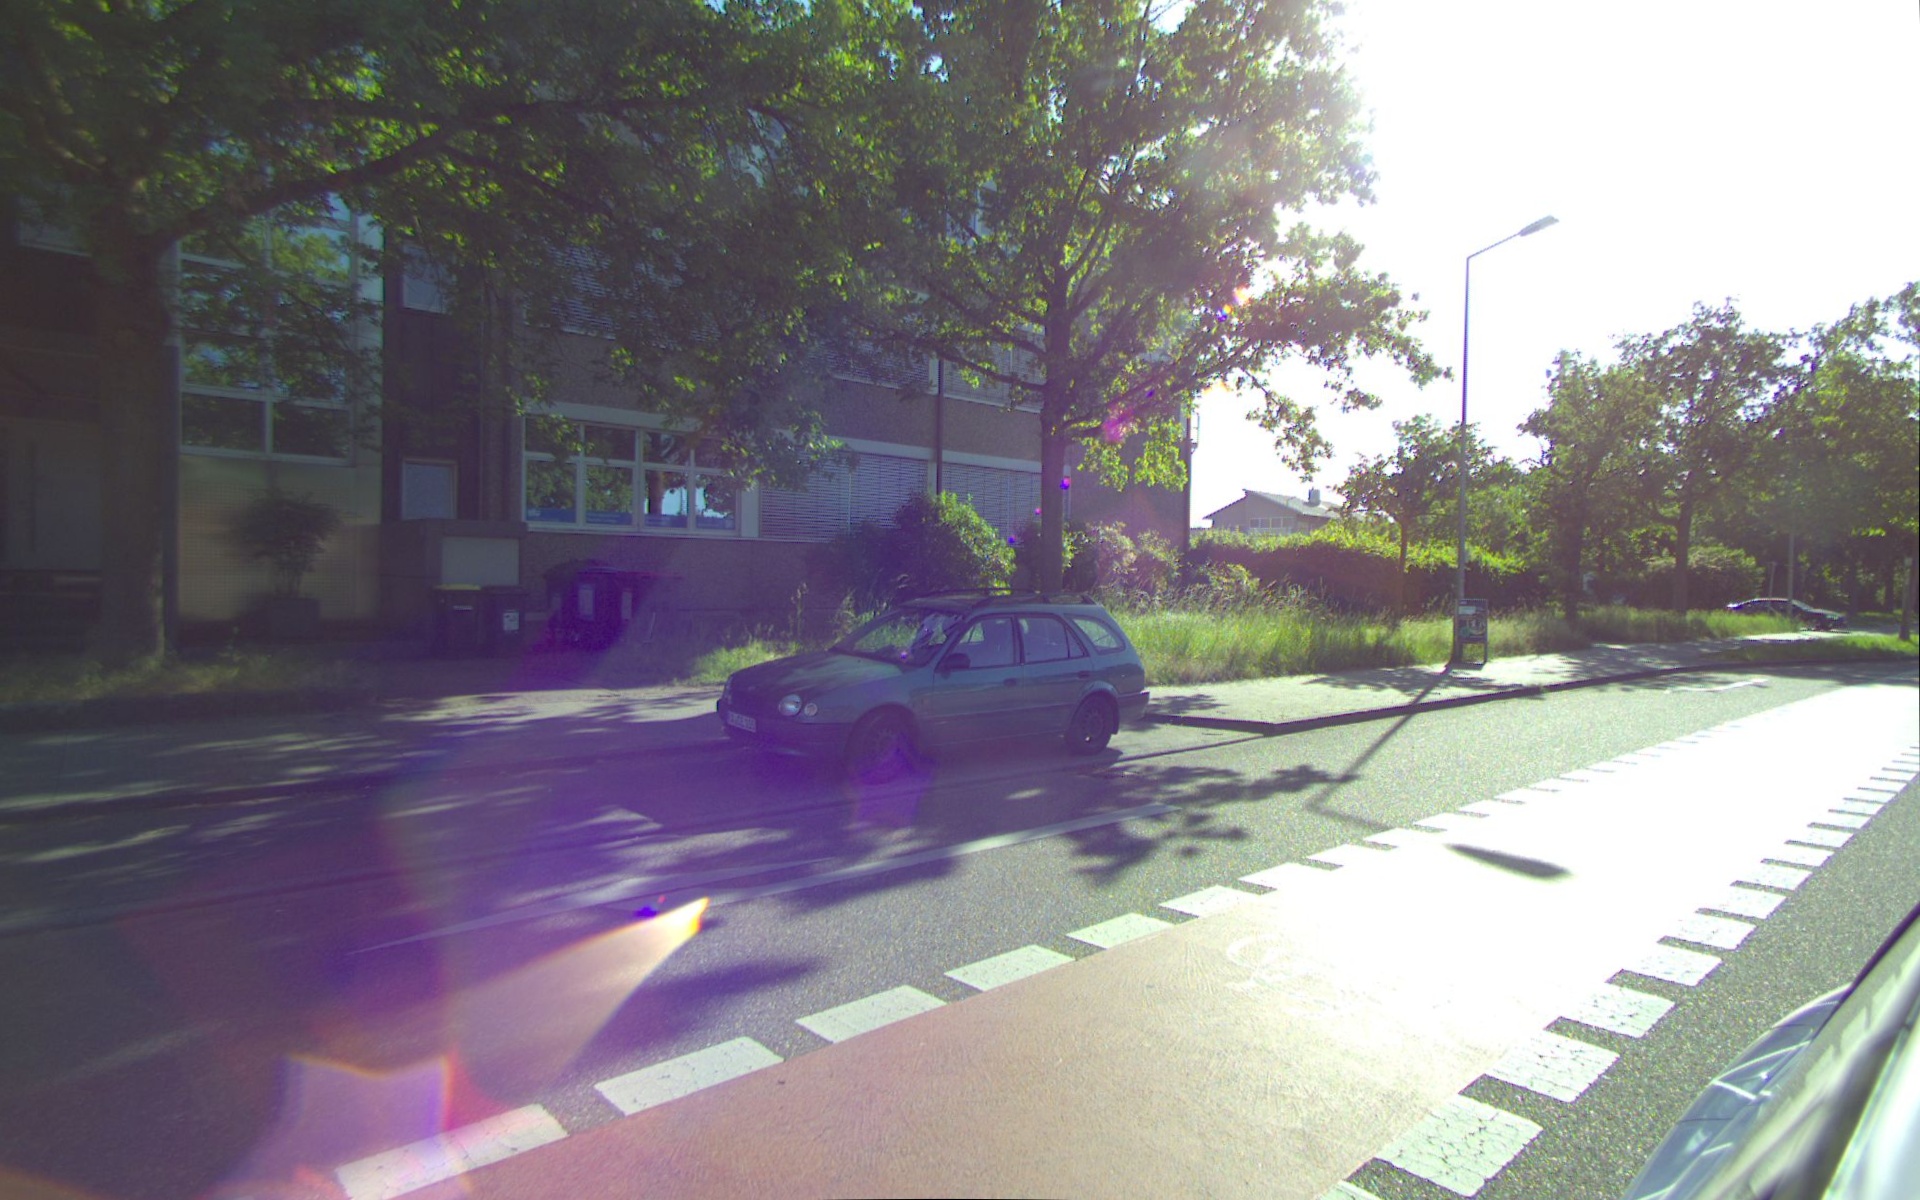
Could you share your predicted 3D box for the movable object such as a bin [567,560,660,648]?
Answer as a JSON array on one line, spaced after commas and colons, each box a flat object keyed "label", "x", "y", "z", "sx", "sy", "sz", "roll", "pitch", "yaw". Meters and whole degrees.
[{"label": "movable object such as a bin", "x": -5.780, "y": 0.041, "z": 16.859, "sx": 1.070, "sy": 1.388, "sz": 1.186, "roll": 0, "pitch": 2, "yaw": -43}]

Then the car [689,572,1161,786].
[{"label": "car", "x": -0.154, "y": 0.574, "z": 9.130, "sx": 4.068, "sy": 1.487, "sz": 1.705, "roll": 1, "pitch": 1, "yaw": -41}]

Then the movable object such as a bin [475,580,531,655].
[{"label": "movable object such as a bin", "x": -6.767, "y": 0.238, "z": 14.976, "sx": 0.604, "sy": 1.075, "sz": 0.634, "roll": 0, "pitch": 1, "yaw": -42}]

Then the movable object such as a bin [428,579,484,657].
[{"label": "movable object such as a bin", "x": -7.223, "y": 0.244, "z": 14.495, "sx": 0.575, "sy": 1.070, "sz": 0.625, "roll": 0, "pitch": 1, "yaw": -42}]

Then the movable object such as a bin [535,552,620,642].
[{"label": "movable object such as a bin", "x": -6.789, "y": -0.076, "z": 17.939, "sx": 1.024, "sy": 1.501, "sz": 1.309, "roll": 0, "pitch": 2, "yaw": -41}]

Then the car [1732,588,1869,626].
[{"label": "car", "x": 38.719, "y": 0.267, "z": 46.728, "sx": 1.859, "sy": 1.538, "sz": 4.495, "roll": 0, "pitch": 2, "yaw": -29}]

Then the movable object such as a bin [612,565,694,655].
[{"label": "movable object such as a bin", "x": -4.789, "y": 0.123, "z": 15.771, "sx": 0.878, "sy": 1.323, "sz": 1.186, "roll": 0, "pitch": 2, "yaw": -37}]
